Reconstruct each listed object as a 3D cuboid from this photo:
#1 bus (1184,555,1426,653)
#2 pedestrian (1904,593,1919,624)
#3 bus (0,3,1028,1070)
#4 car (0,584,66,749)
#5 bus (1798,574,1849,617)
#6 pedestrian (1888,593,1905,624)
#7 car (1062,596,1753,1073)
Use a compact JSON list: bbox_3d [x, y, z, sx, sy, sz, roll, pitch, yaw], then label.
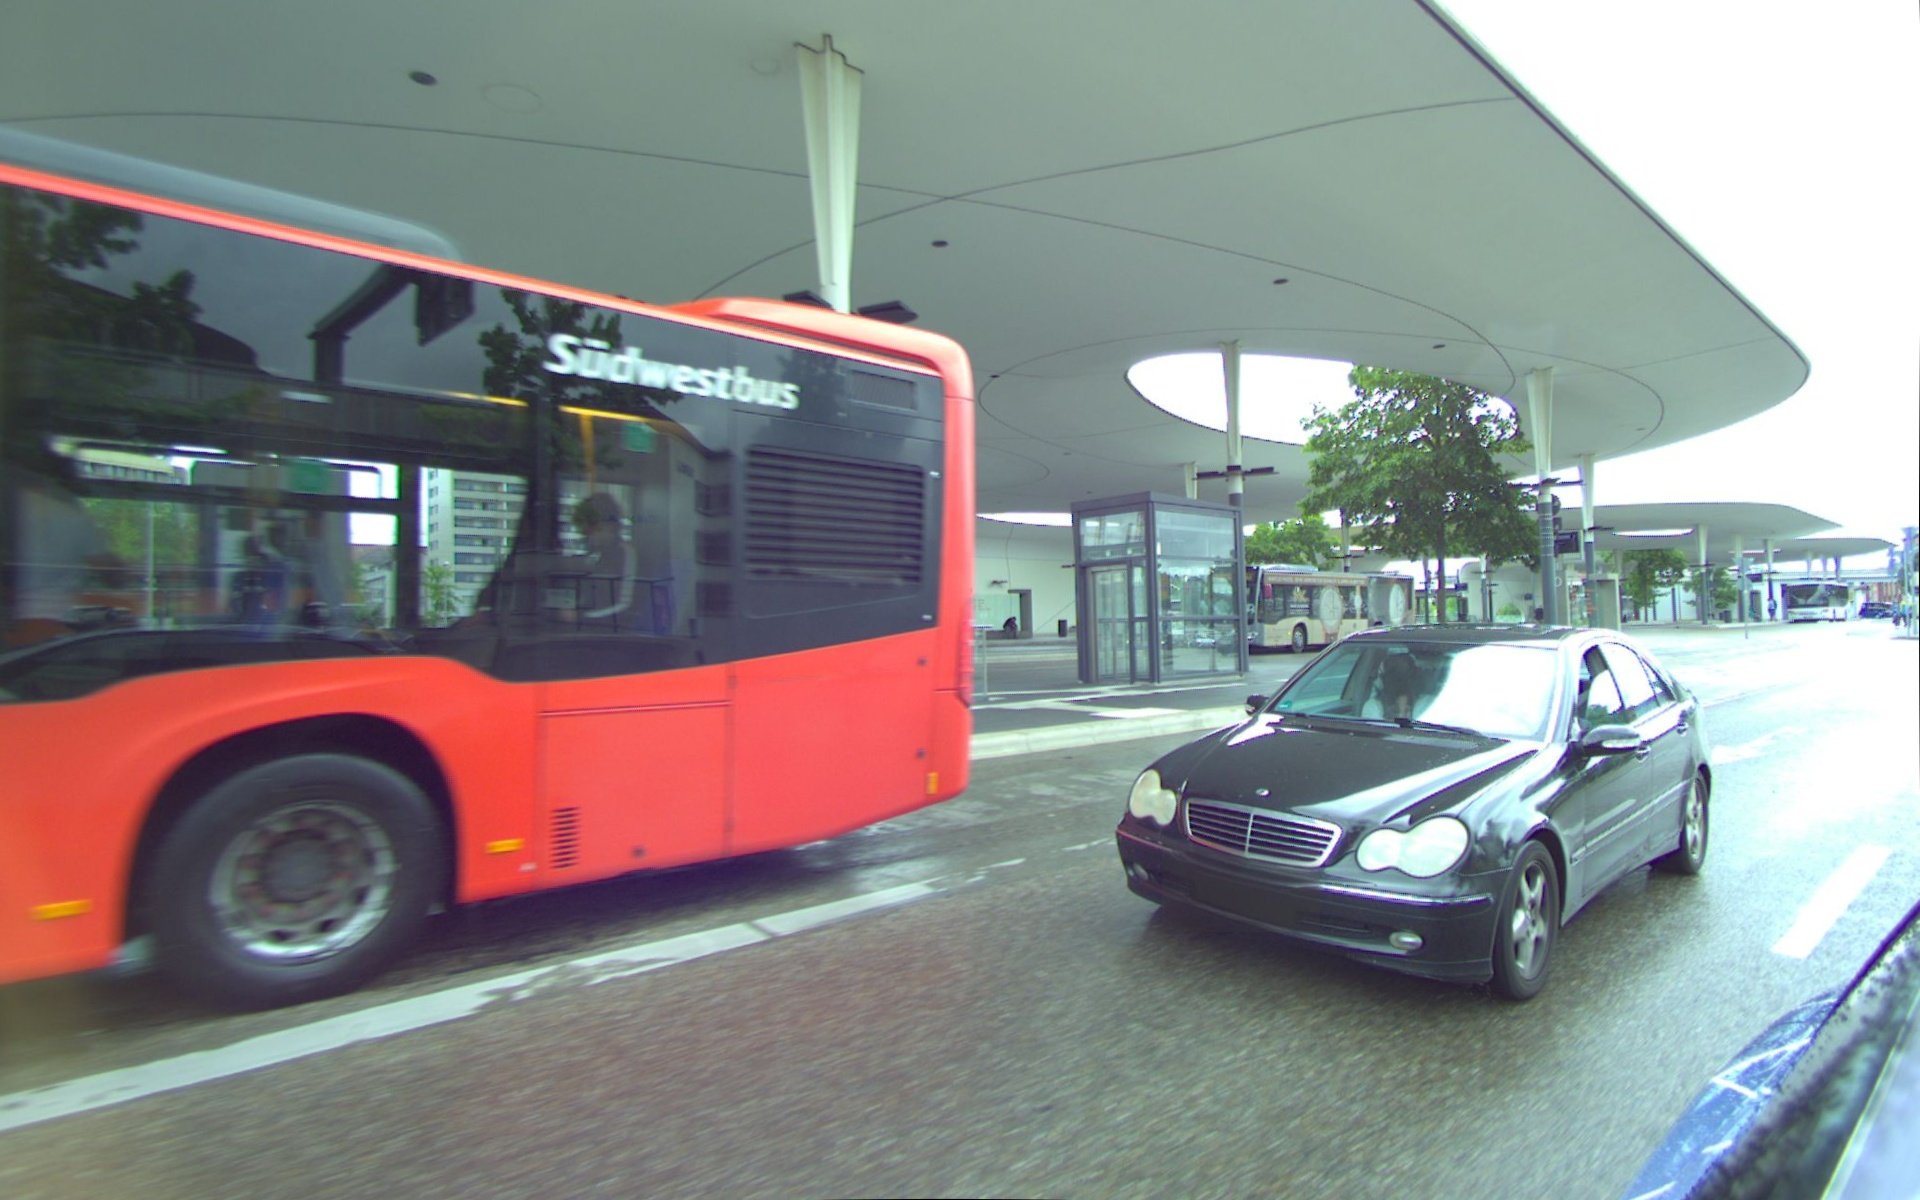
[{"bbox_3d":[13.256,0.115,37.870,12.140,3.146,3.000,0,0,-42],"label":"bus"},{"bbox_3d":[50.013,0.449,53.128,0.543,1.645,0.556,0,-1,-41],"label":"pedestrian"},{"bbox_3d":[-3.491,-0.196,4.349,7.979,3.214,2.747,0,0,-41],"label":"bus"},{"bbox_3d":[-11.575,0.705,9.779,4.356,1.670,1.803,0,-2,-41],"label":"car"},{"bbox_3d":[68.356,-0.345,80.032,2.666,3.169,9.566,-1,0,43],"label":"bus"},{"bbox_3d":[49.577,0.439,53.580,0.577,1.645,0.576,0,-1,-41],"label":"pedestrian"},{"bbox_3d":[2.636,0.738,5.323,4.360,1.499,1.747,0,-1,-43],"label":"car"}]
